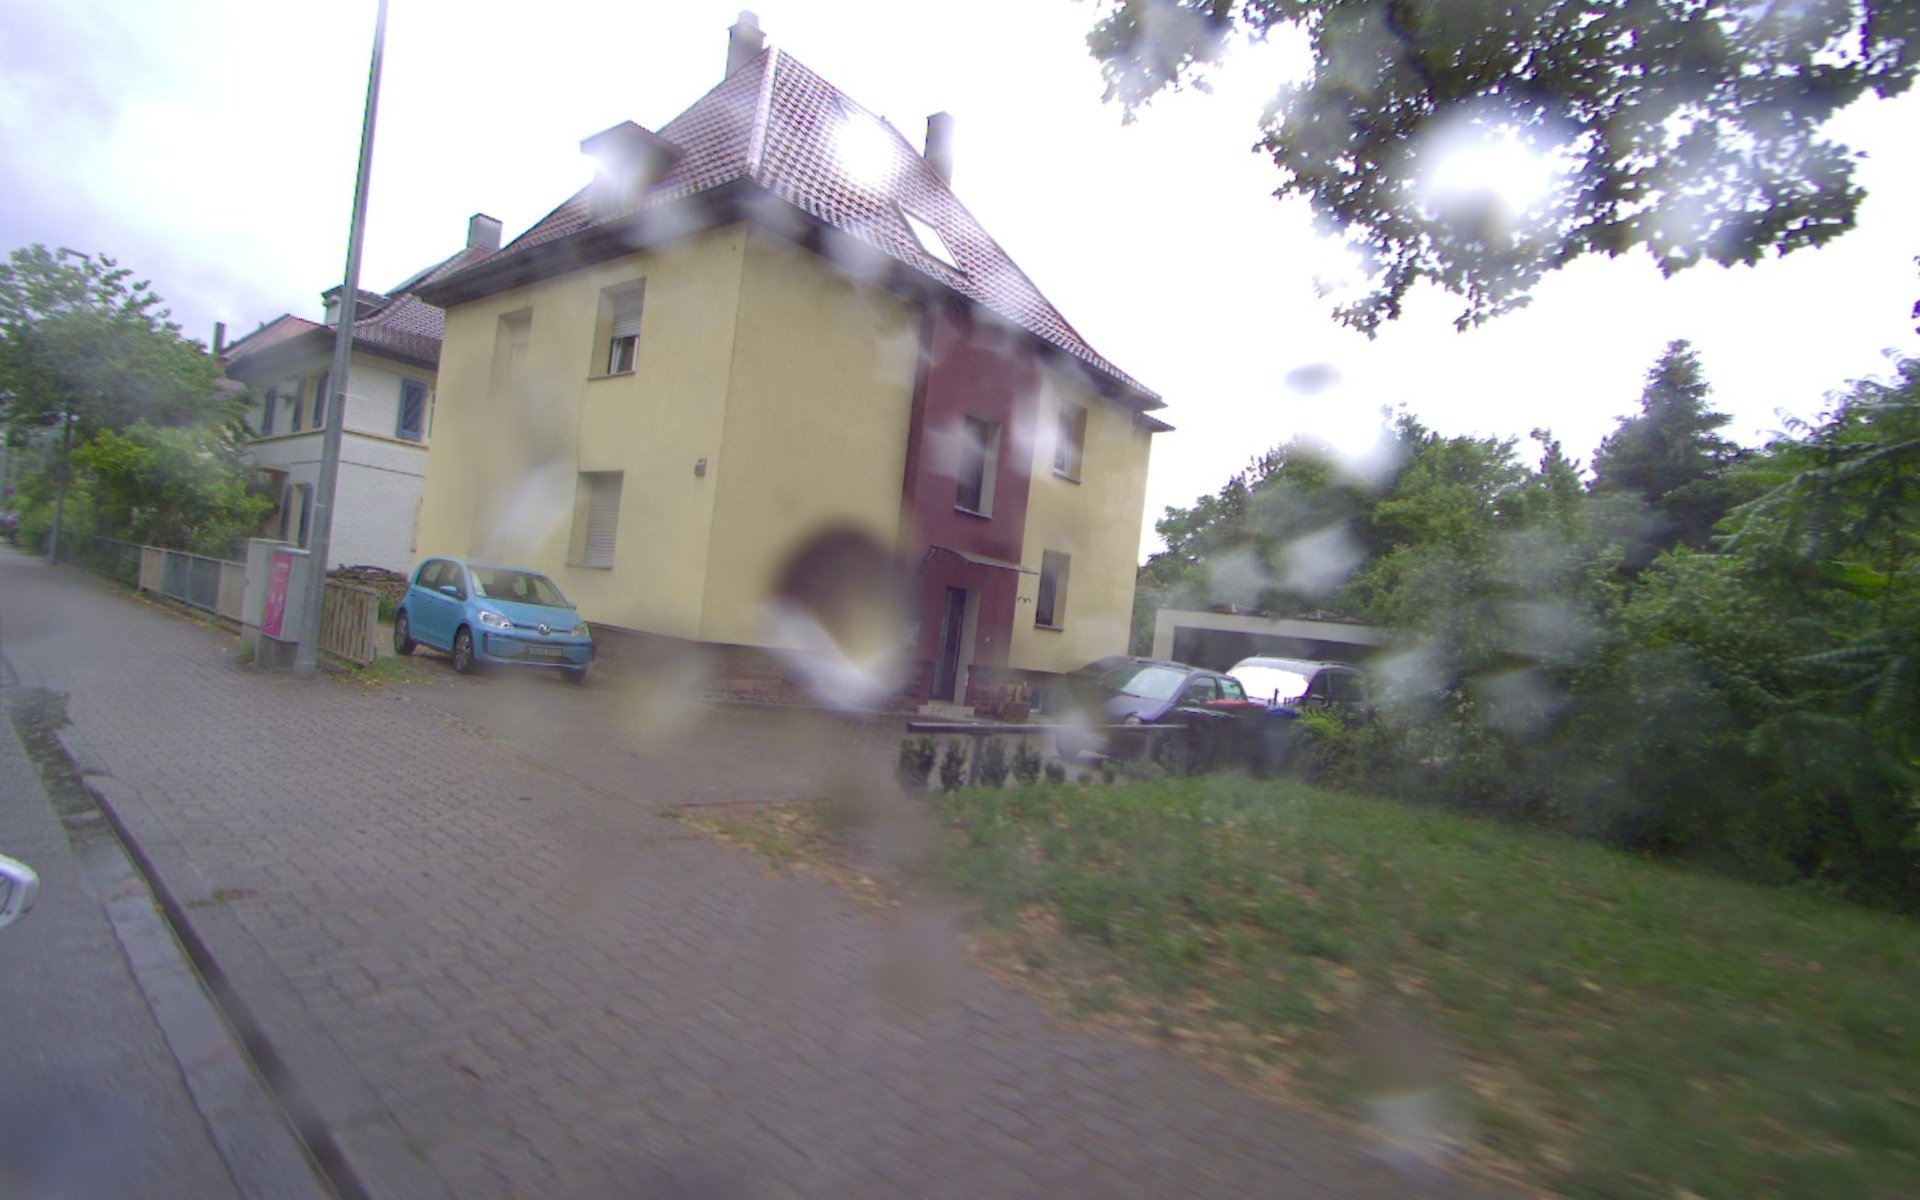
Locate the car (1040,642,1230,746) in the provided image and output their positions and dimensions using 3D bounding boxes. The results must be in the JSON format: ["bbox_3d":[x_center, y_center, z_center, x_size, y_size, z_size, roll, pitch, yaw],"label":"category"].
[{"bbox_3d":[3.344,1.796,18.835,1.822,1.527,3.511,7,-2,41],"label":"car"}]

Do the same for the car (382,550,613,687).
[{"bbox_3d":[-6.549,0.218,14.109,3.479,1.487,1.666,5,-3,44],"label":"car"}]

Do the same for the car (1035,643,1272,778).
[{"bbox_3d":[2.746,1.533,13.832,1.651,1.463,3.329,6,-3,41],"label":"car"}]

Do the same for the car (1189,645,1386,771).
[{"bbox_3d":[5.965,1.920,17.977,1.651,1.817,4.338,6,-1,41],"label":"car"}]

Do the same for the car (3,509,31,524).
[{"bbox_3d":[-113.376,-10.026,120.961,1.780,1.477,4.266,8,-2,-36],"label":"car"}]

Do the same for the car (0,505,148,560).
[{"bbox_3d":[-34.470,-2.599,39.161,3.935,1.474,1.768,7,-1,-12],"label":"car"}]
